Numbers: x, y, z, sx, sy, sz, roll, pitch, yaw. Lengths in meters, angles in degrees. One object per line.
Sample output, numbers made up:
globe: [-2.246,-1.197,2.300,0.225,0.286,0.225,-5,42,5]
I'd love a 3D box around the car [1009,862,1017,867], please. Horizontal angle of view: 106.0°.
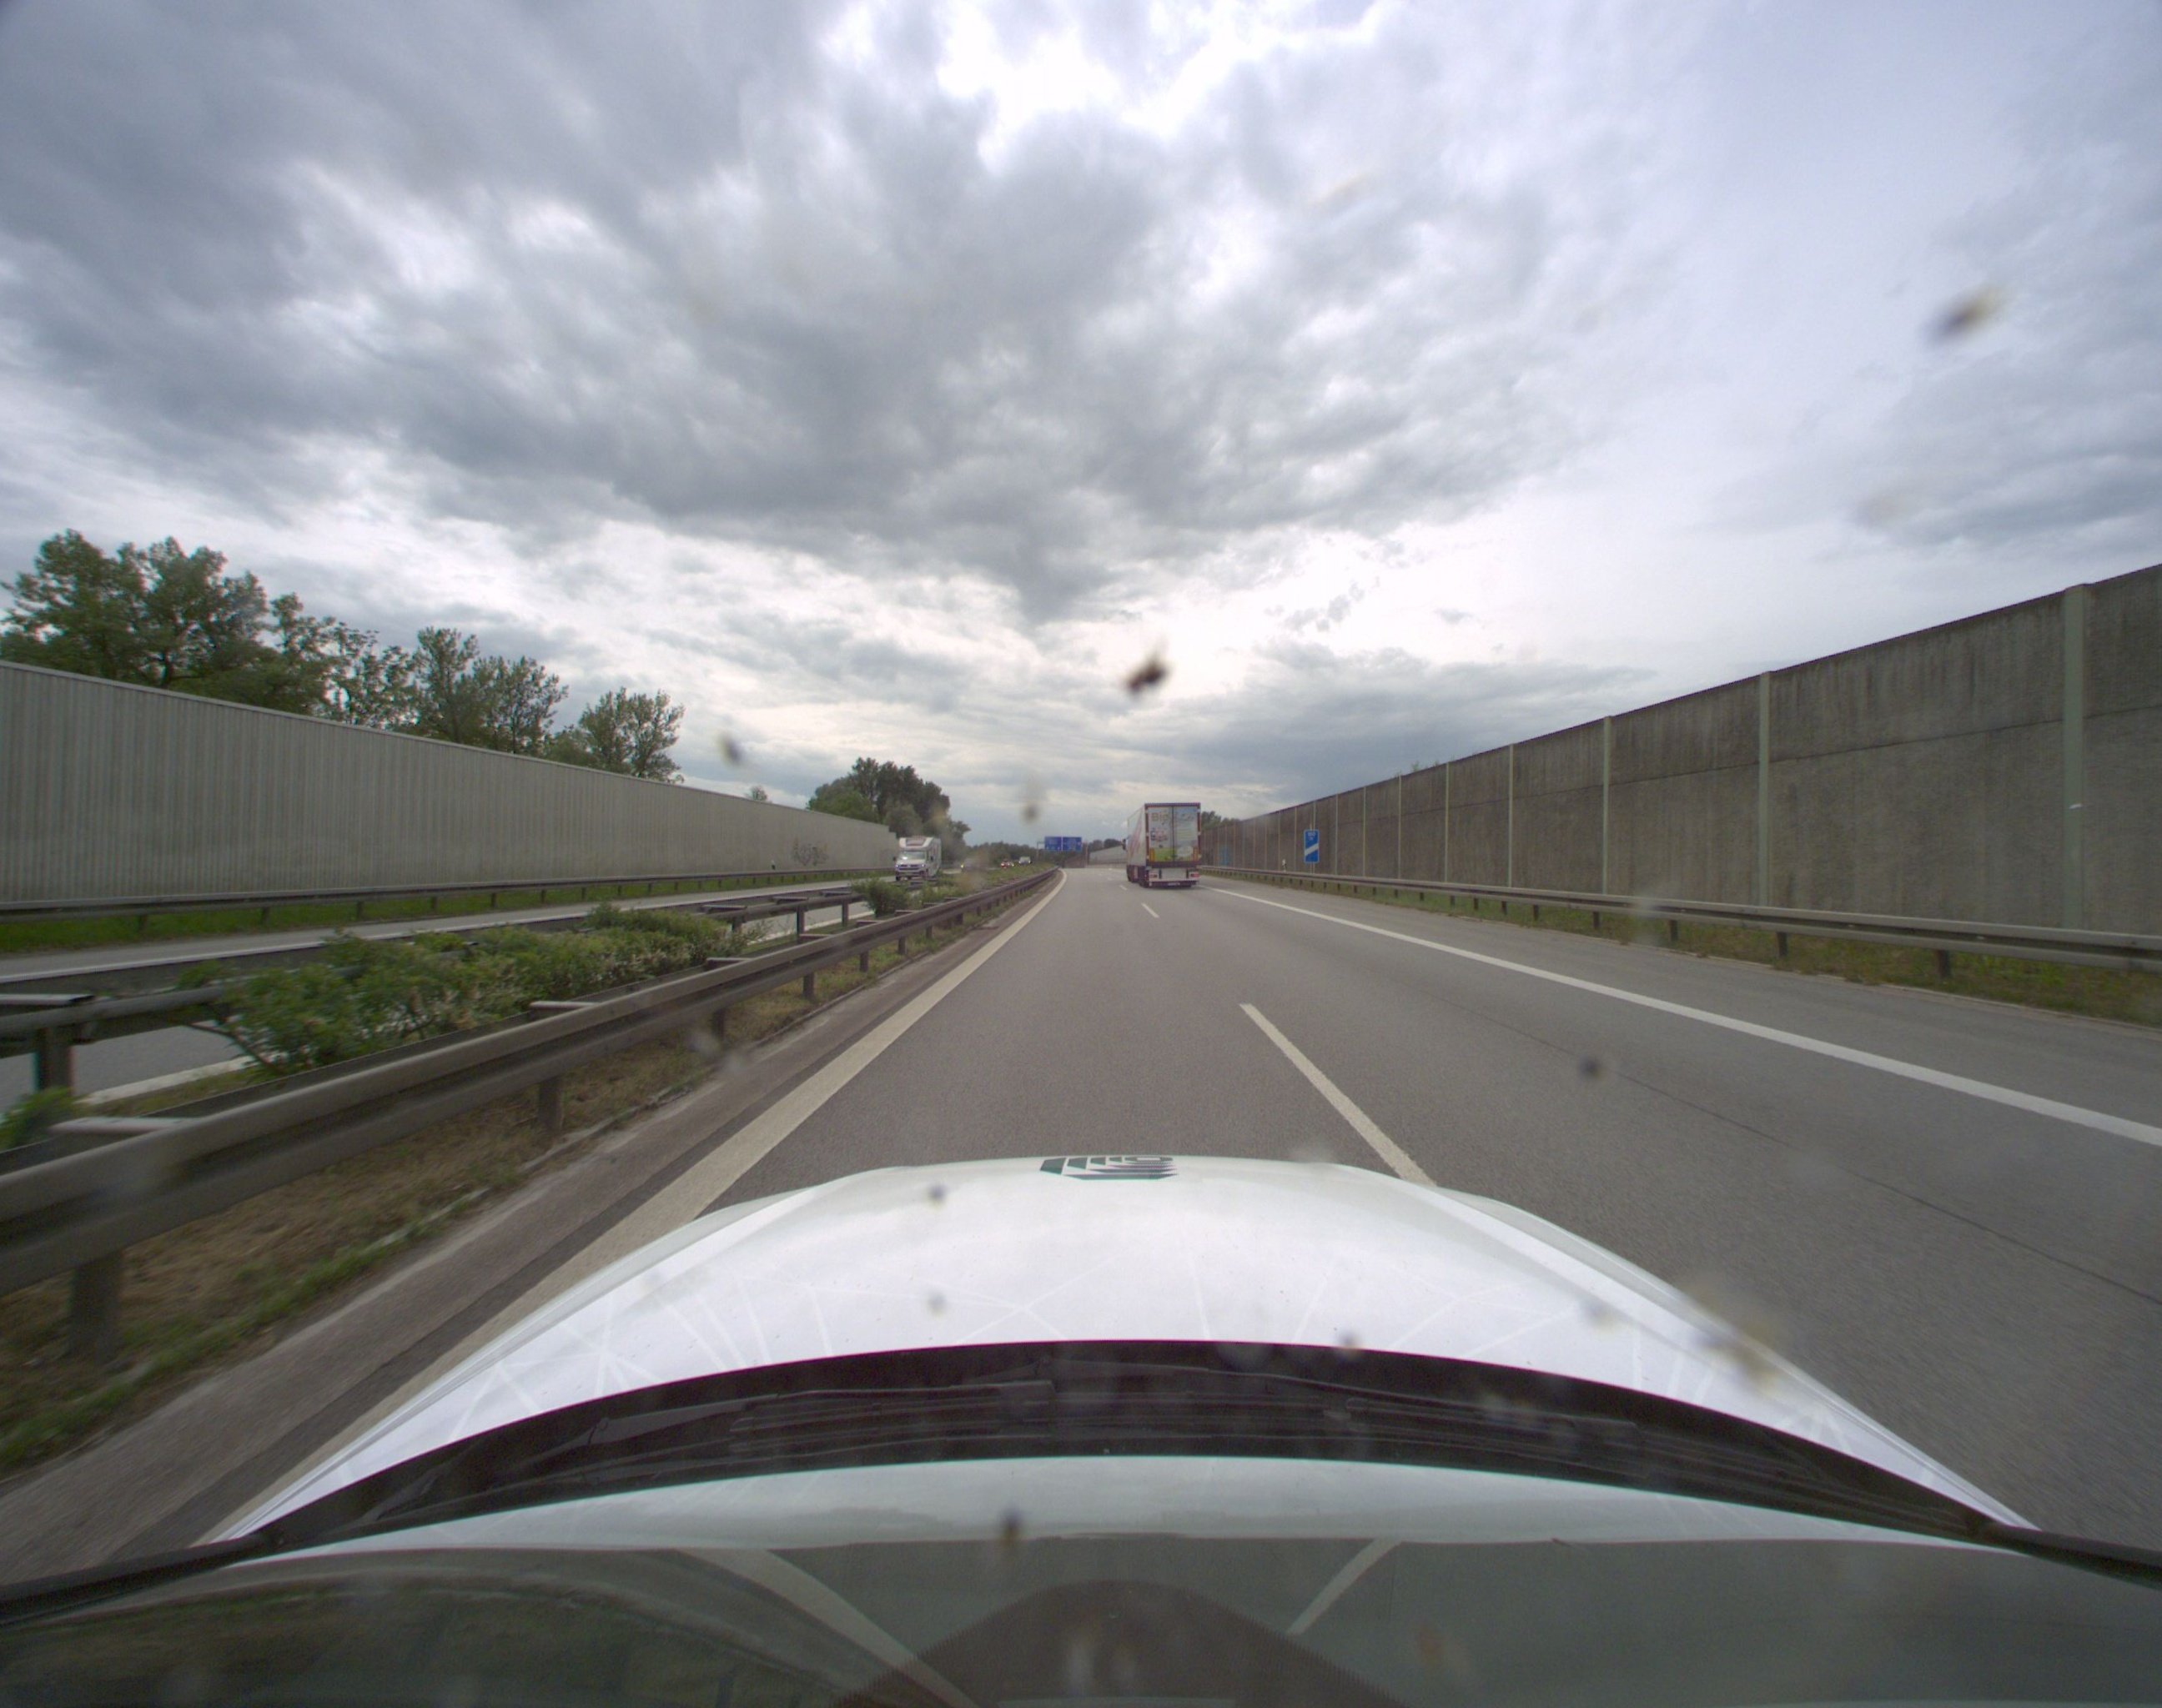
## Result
car: [-17.458,2.695,209.133,1.965,1.404,4.704,-1,0,-3]

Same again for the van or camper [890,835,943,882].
van or camper: [-10.300,0.297,51.451,2.248,2.779,5.752,-1,0,-1]

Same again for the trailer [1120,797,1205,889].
trailer: [4.090,-0.461,44.418,2.785,4.175,14.092,-1,-1,-2]

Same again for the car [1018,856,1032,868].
car: [-9.092,1.222,132.904,1.988,1.886,4.553,-1,0,-1]

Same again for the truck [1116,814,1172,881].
truck: [3.831,-0.370,50.903,2.749,3.960,5.671,-1,-1,-3]

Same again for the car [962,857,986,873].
car: [-10.551,1.068,80.337,1.807,1.547,4.513,-1,0,-1]

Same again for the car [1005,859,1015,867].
car: [-15.426,1.998,177.559,1.965,1.761,4.939,0,-1,-3]
